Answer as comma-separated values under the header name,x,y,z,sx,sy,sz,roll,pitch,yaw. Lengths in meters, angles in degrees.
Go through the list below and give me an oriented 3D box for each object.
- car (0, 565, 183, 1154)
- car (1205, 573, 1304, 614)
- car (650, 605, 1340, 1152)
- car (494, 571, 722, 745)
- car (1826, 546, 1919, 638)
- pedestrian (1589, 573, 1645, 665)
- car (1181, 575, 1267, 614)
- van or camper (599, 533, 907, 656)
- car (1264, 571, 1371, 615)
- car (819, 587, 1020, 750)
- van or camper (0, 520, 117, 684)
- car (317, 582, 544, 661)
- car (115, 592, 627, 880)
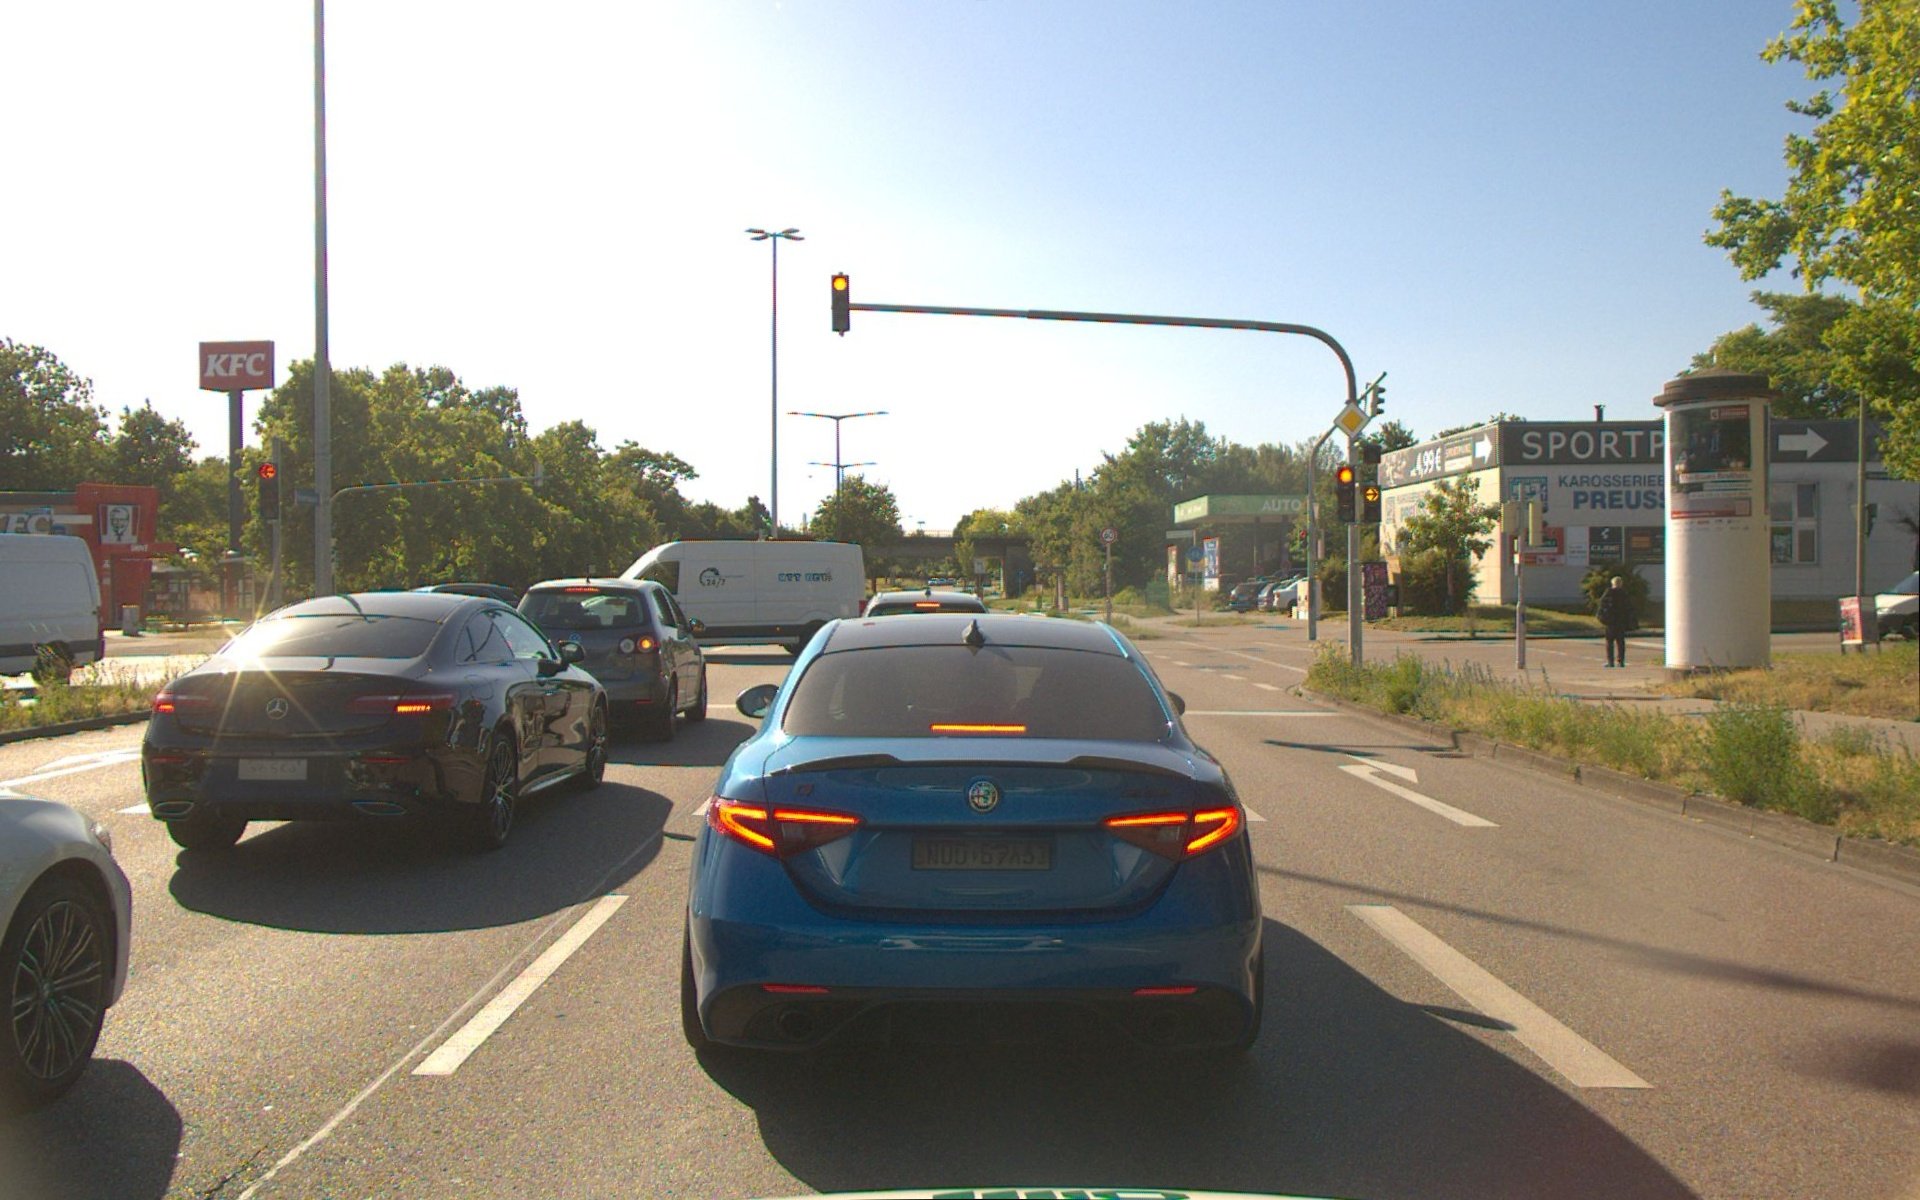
name,x,y,z,sx,sy,sz,roll,pitch,yaw
car,-3.352,0.686,3.106,1.732,1.535,4.460,0,0,-1
car,12.663,-0.269,71.164,3.928,1.736,1.686,0,0,-20
car,0.069,0.750,6.368,1.828,1.409,3.931,0,0,-1
car,-3.584,0.526,17.483,1.615,1.626,3.931,0,0,-1
car,23.775,-0.195,40.321,4.318,2.183,1.998,0,0,-4
pedestrian,12.682,0.358,31.930,0.805,1.752,0.854,0,0,6
car,11.868,-0.264,74.342,3.428,1.736,1.688,0,0,-17
van or camper,-4.664,-0.134,37.439,6.634,2.617,2.172,0,0,-21
car,14.336,-0.279,66.334,3.923,1.736,1.687,0,0,-17
car,-0.397,0.611,17.064,1.828,1.475,3.931,0,0,-1
van or camper,-16.848,0.041,26.973,1.951,2.697,5.960,0,0,16
car,-11.808,0.437,36.963,4.553,1.682,1.979,0,0,-31
car,-3.418,0.672,10.579,1.732,1.439,4.460,0,0,-1
